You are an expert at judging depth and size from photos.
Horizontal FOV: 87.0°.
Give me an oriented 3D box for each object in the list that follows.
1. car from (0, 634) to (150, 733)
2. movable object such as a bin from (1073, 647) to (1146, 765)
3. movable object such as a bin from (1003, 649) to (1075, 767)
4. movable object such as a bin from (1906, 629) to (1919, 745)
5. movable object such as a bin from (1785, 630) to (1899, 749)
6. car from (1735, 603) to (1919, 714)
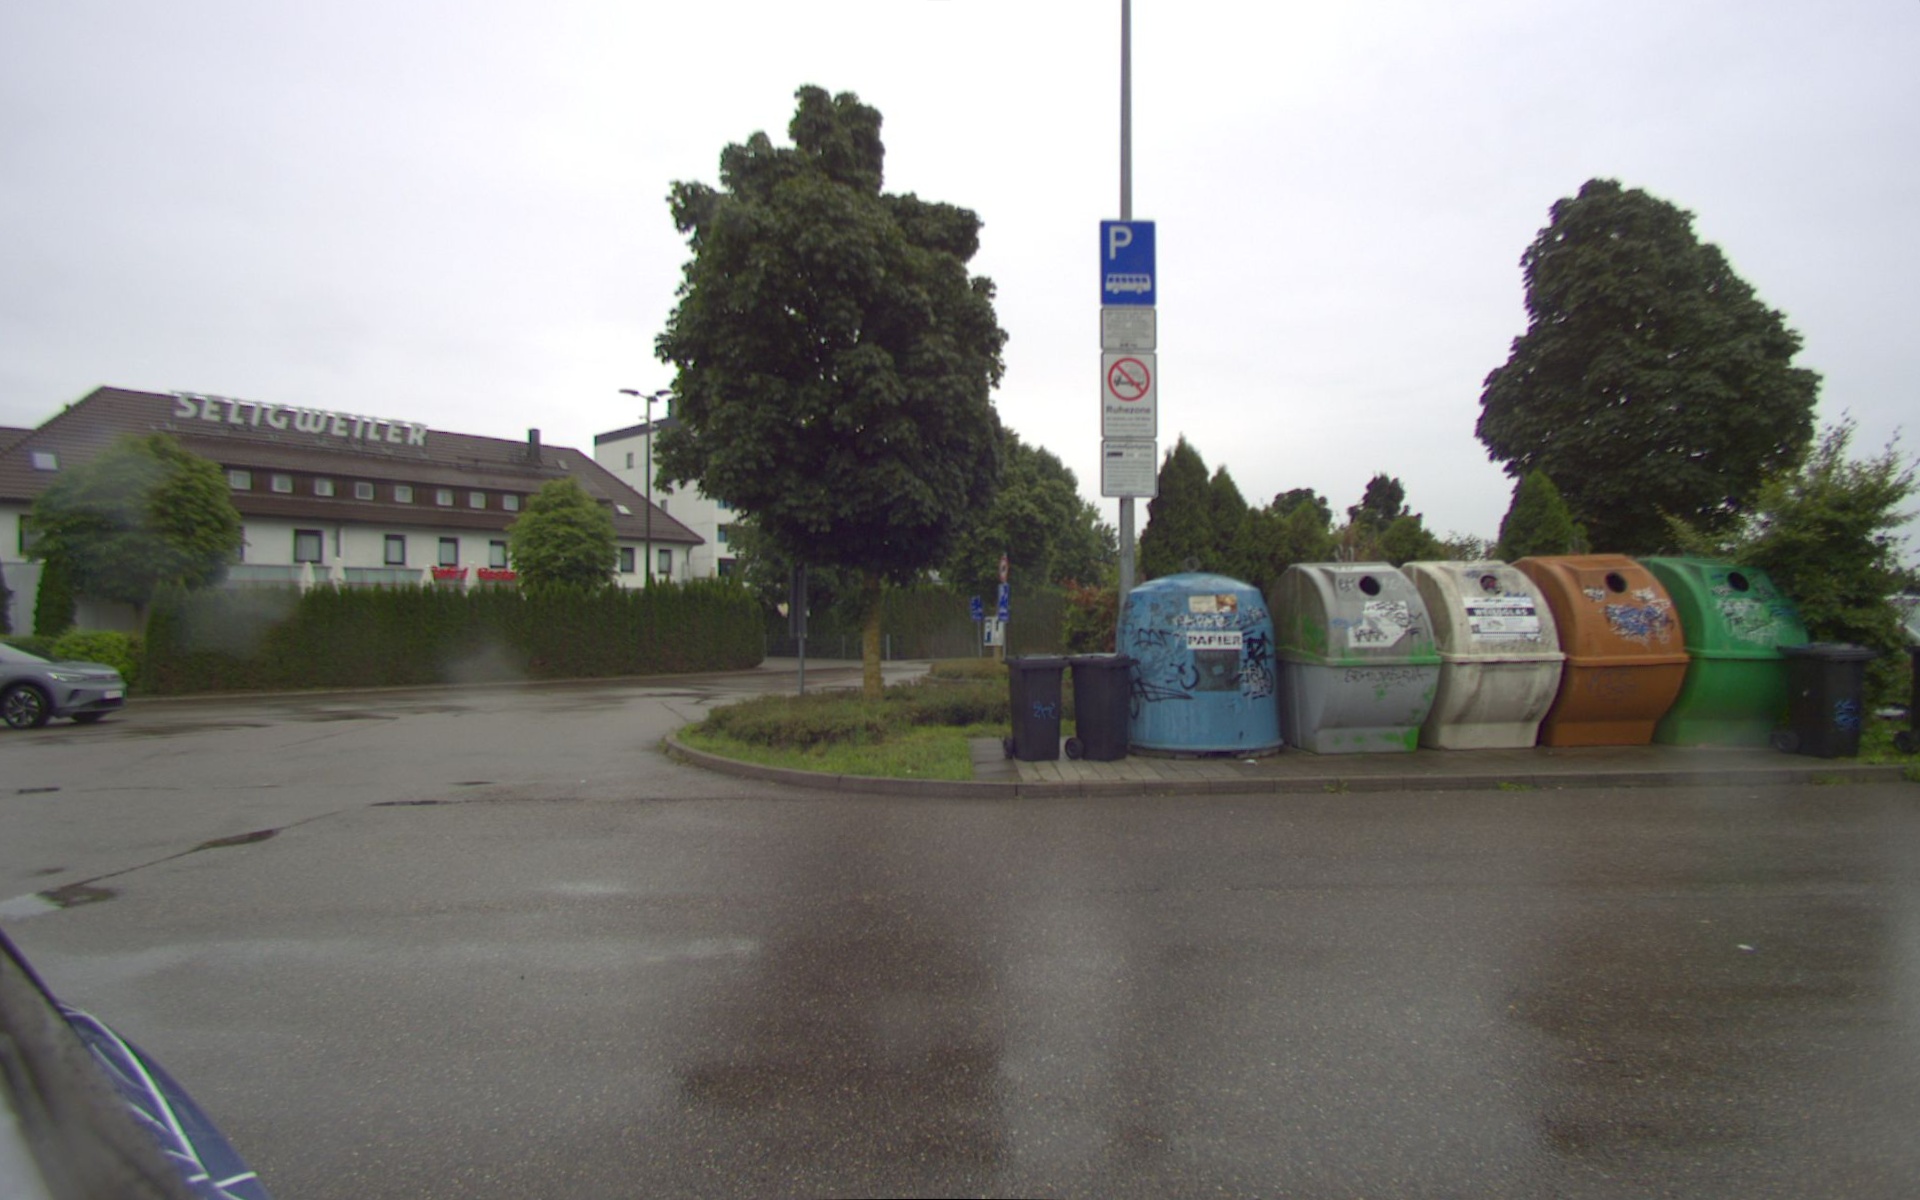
[{"bbox_3d":[-17.073,1.455,17.452,4.424,1.586,2.005,-1,-1,-15],"label":"car"},{"bbox_3d":[1.287,0.892,8.716,0.450,0.956,0.399,-2,-1,44],"label":"movable object such as a bin"},{"bbox_3d":[0.681,0.916,8.749,0.427,0.956,0.475,-1,-1,-22],"label":"movable object such as a bin"},{"bbox_3d":[7.916,0.689,7.948,0.433,0.923,0.508,-2,-2,2],"label":"movable object such as a bin"},{"bbox_3d":[7.179,0.716,8.253,0.433,0.930,0.508,-2,-2,4],"label":"movable object such as a bin"},{"bbox_3d":[12.292,0.697,13.108,1.784,1.278,3.644,-1,0,3],"label":"car"}]
